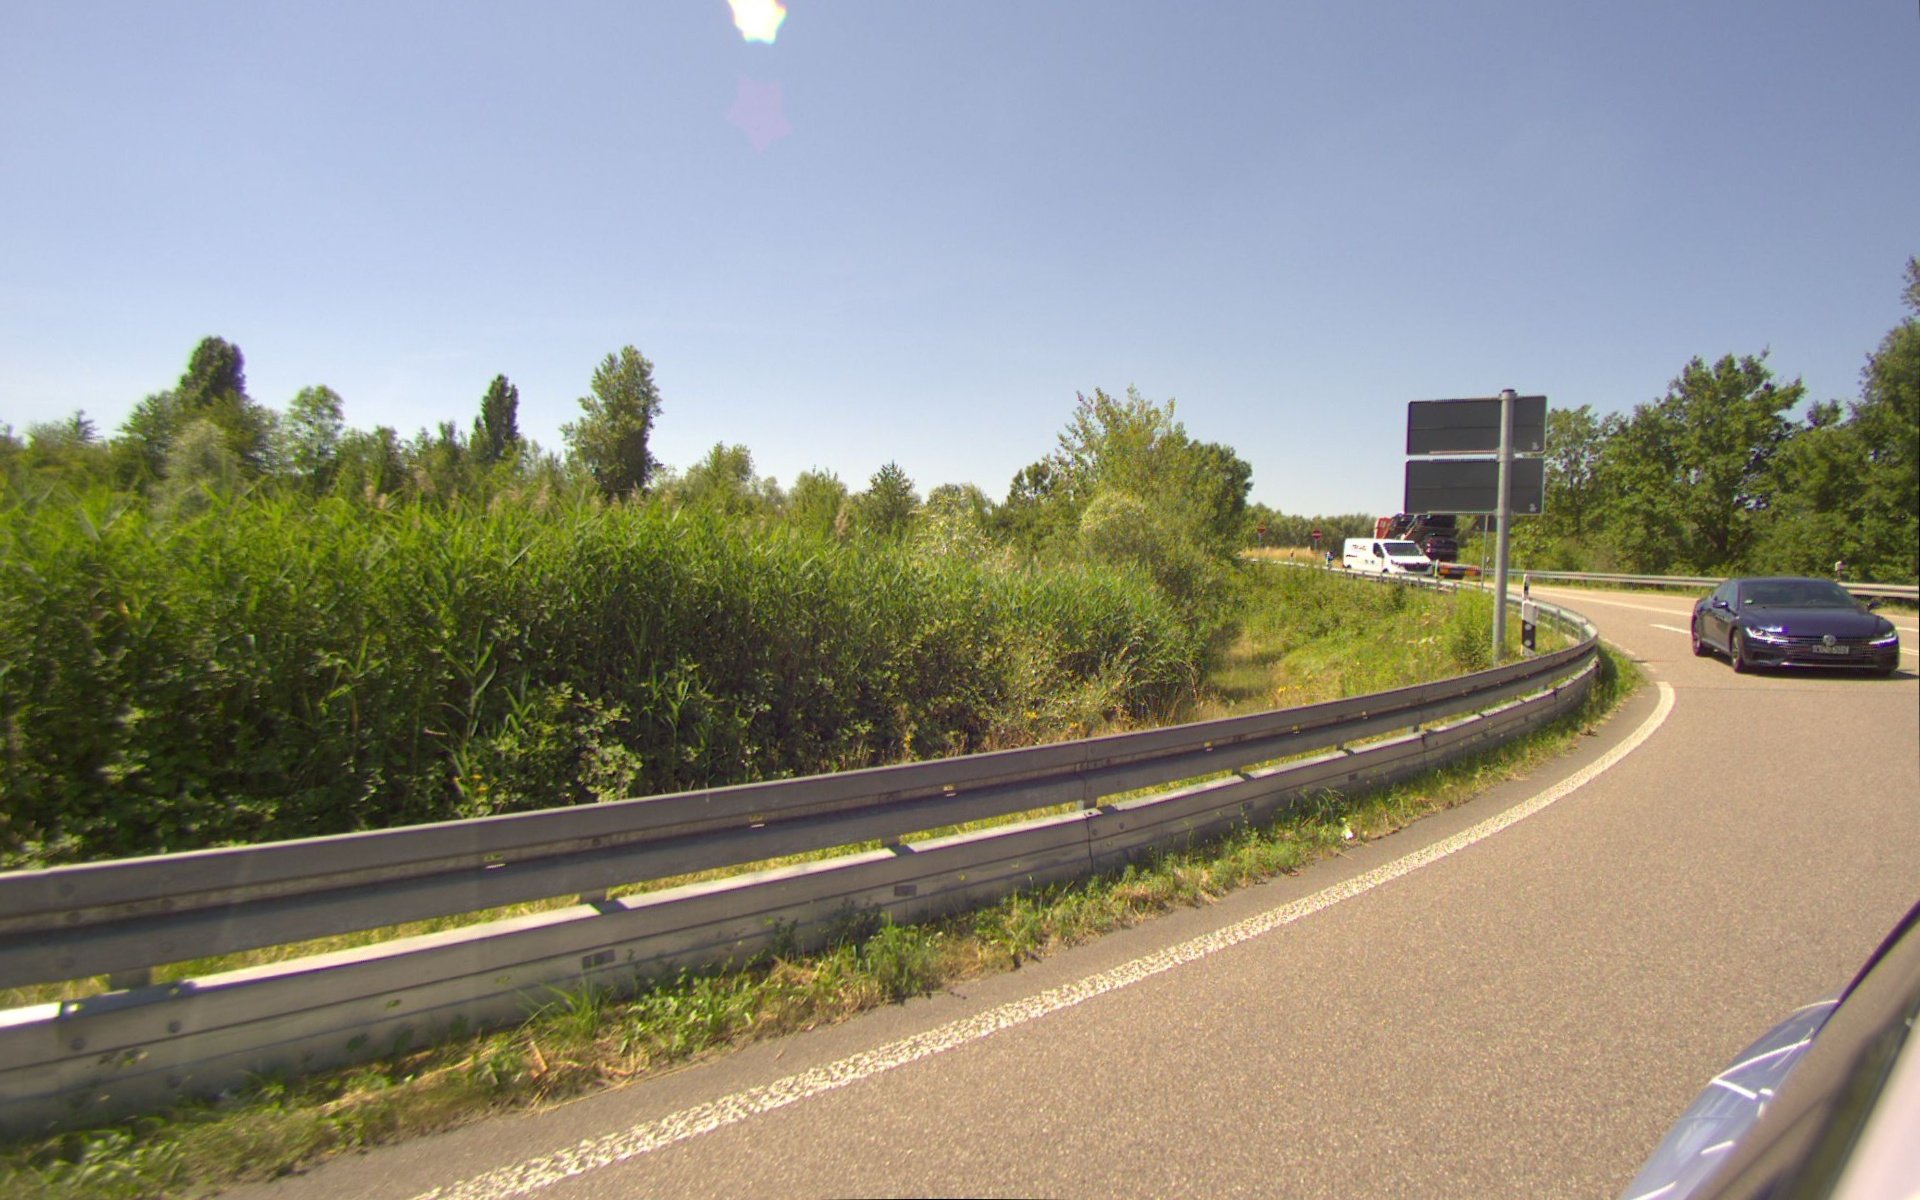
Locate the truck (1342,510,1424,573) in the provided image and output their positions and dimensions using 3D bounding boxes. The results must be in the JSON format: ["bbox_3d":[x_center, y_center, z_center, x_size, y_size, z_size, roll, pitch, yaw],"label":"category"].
[{"bbox_3d":[28.202,-3.929,67.900,2.751,3.945,8.768,0,3,7],"label":"truck"}]

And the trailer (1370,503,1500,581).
[{"bbox_3d":[26.975,-3.366,58.476,2.755,3.945,13.963,0,3,8],"label":"trailer"}]

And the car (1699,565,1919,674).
[{"bbox_3d":[13.236,0.205,16.048,1.827,1.448,4.489,-1,1,29],"label":"car"}]

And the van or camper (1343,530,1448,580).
[{"bbox_3d":[19.352,-2.027,45.283,1.970,2.056,5.456,-2,3,-5],"label":"van or camper"}]
